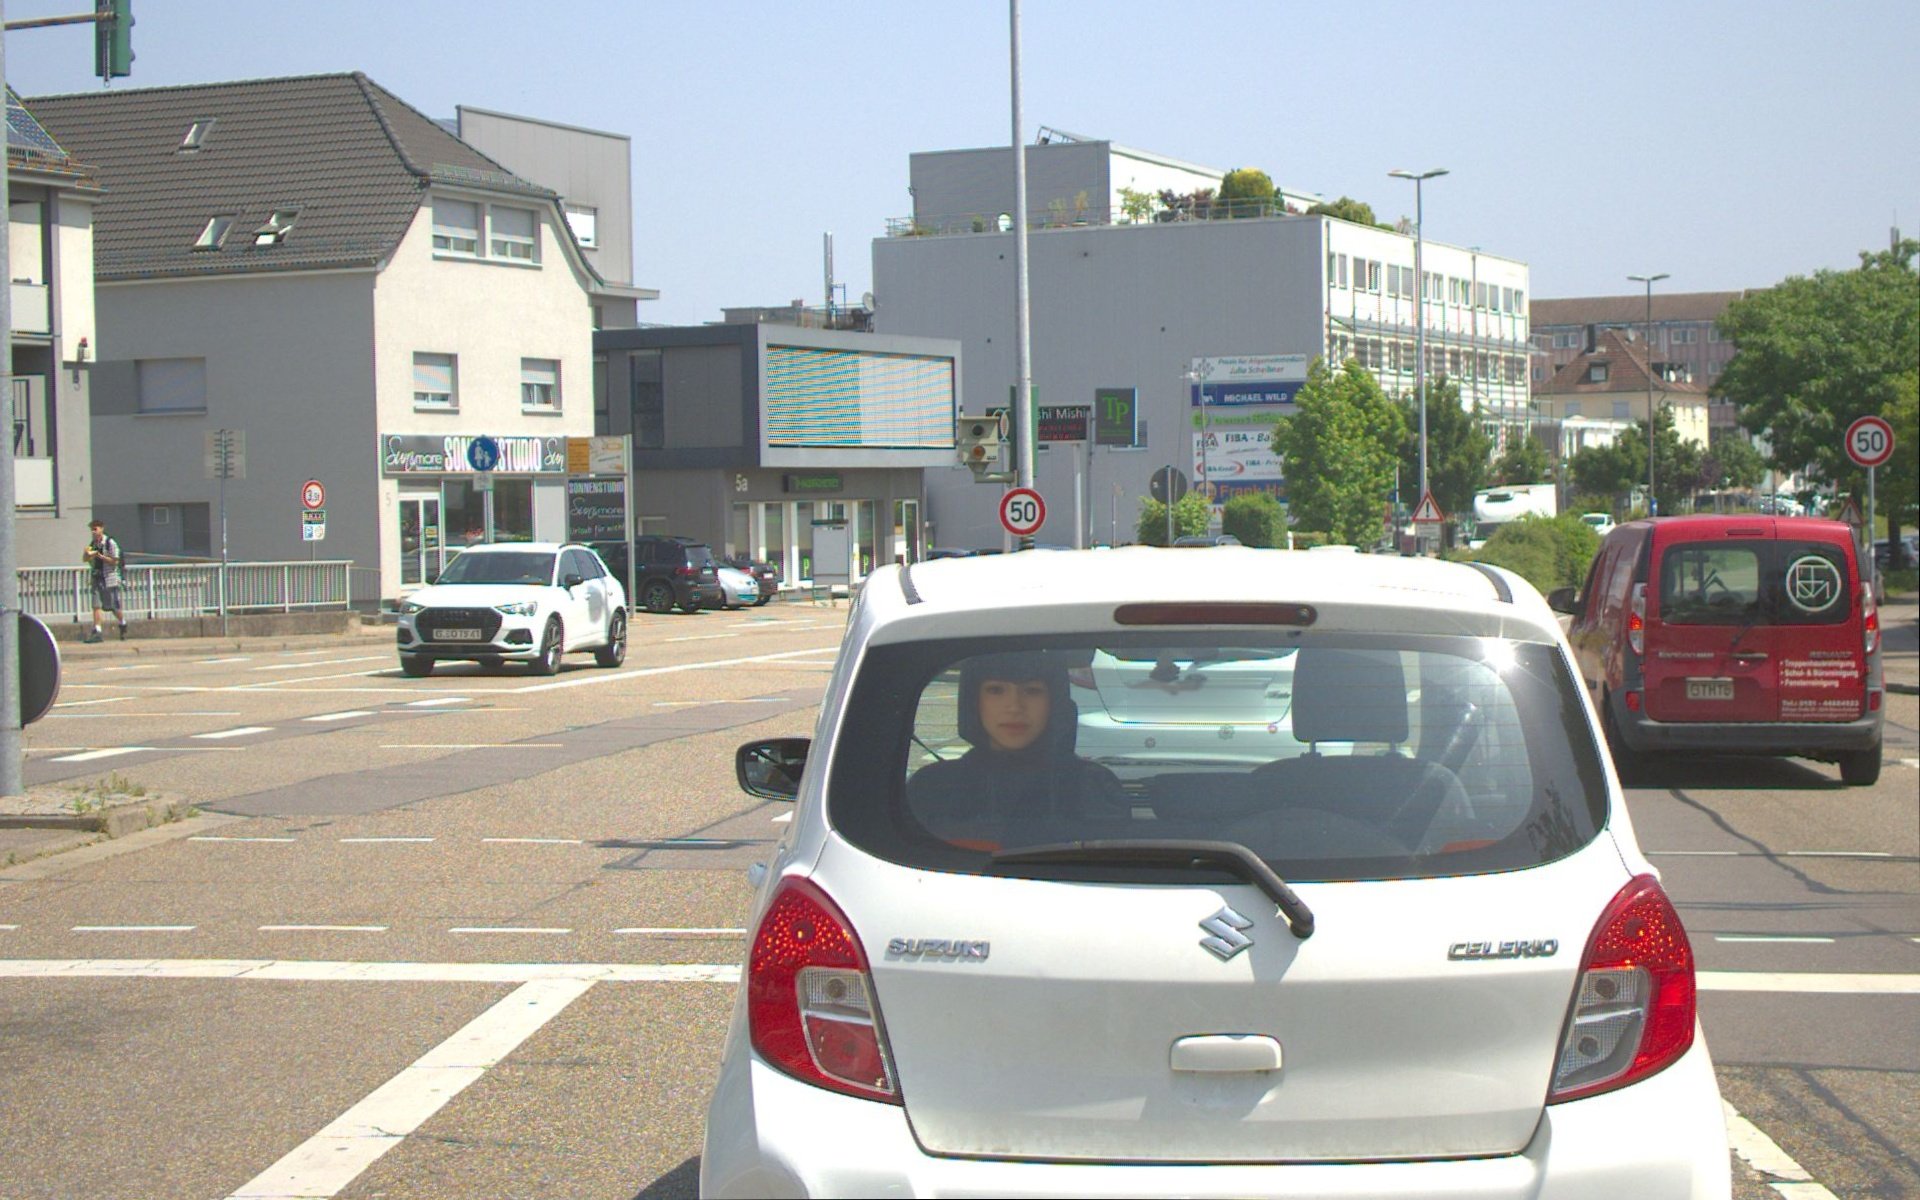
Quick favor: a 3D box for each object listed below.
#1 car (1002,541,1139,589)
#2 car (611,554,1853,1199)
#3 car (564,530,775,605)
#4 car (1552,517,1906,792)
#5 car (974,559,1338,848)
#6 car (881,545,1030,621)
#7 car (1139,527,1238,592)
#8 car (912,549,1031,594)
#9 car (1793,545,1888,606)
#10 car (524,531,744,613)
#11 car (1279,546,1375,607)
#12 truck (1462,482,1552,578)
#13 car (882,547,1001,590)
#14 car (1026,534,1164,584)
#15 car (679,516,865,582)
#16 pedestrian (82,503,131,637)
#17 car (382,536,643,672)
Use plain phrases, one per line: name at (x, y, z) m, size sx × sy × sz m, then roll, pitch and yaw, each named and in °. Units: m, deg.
car at (3.436, -1.077, 107.024) m, size 3.990 × 1.454 × 1.574 m, roll -1°, pitch 0°, yaw 17°
car at (0.405, 0.687, 6.403) m, size 1.712 × 1.505 × 3.247 m, roll 1°, pitch 0°, yaw 1°
car at (-6.863, -0.779, 81.270) m, size 4.609 × 1.491 × 1.751 m, roll 3°, pitch 2°, yaw 14°
car at (5.213, 0.309, 23.789) m, size 1.795 × 1.723 × 3.972 m, roll 1°, pitch 1°, yaw 4°
car at (1.226, 0.508, 19.759) m, size 1.830 × 1.445 × 3.999 m, roll 1°, pitch 1°, yaw 7°
car at (-0.042, -0.333, 64.446) m, size 1.864 × 1.361 × 4.344 m, roll 1°, pitch 1°, yaw 13°
car at (6.153, -1.104, 92.263) m, size 1.994 × 1.650 × 4.591 m, roll -1°, pitch 1°, yaw 12°
car at (0.442, -1.077, 130.406) m, size 3.978 × 1.462 × 2.071 m, roll -2°, pitch 1°, yaw 20°
car at (21.496, -0.626, 83.809) m, size 1.799 × 1.401 × 4.316 m, roll 1°, pitch 2°, yaw 20°
car at (-7.423, -0.660, 78.311) m, size 4.611 × 1.621 × 1.852 m, roll 3°, pitch 2°, yaw 22°
car at (9.137, -0.605, 85.371) m, size 1.864 × 1.426 × 4.742 m, roll 1°, pitch 1°, yaw 12°
truck at (20.163, -2.527, 126.439) m, size 2.266 × 3.406 × 7.033 m, roll 1°, pitch 0°, yaw 17°
car at (-0.695, -1.174, 127.243) m, size 3.975 × 1.462 × 1.962 m, roll -1°, pitch 2°, yaw 17°
car at (4.296, -1.307, 109.639) m, size 4.002 × 1.366 × 1.667 m, roll -2°, pitch 2°, yaw 25°
car at (-4.575, -1.243, 83.976) m, size 4.060 × 1.516 × 1.998 m, roll -1°, pitch 1°, yaw 19°
pedestrian at (-12.983, -0.464, 52.278) m, size 0.502 × 2.006 × 0.743 m, roll 1°, pitch 2°, yaw 5°
car at (-5.450, 0.006, 42.492) m, size 1.818 × 1.565 × 4.553 m, roll 1°, pitch 1°, yaw 11°
